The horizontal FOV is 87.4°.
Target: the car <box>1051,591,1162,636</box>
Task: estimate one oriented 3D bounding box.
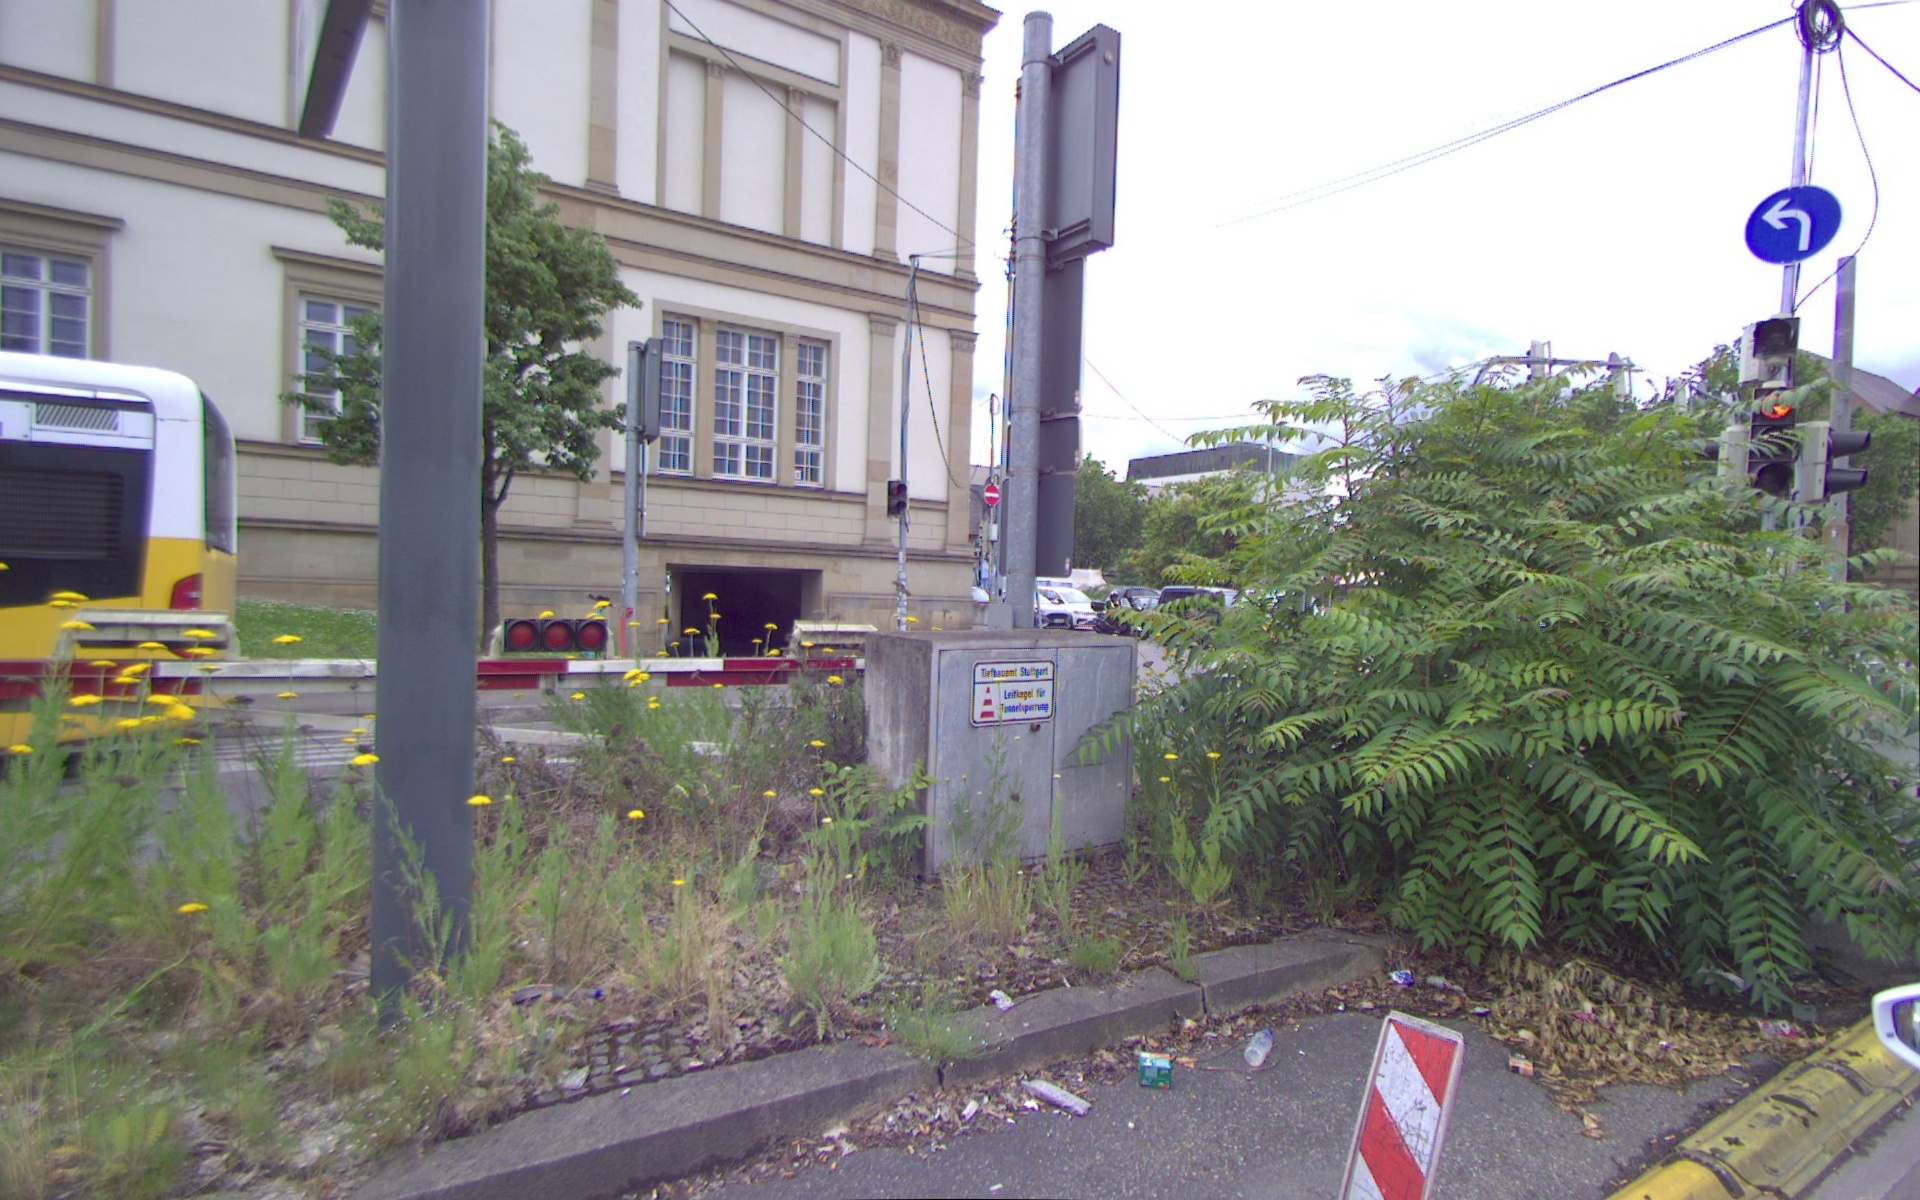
[{"bbox_3d":[5.486,0.499,37.997,1.978,1.568,4.084,2,0,-32],"label":"car"}]

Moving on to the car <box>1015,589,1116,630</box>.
[{"bbox_3d":[4.230,0.365,40.858,1.978,1.568,4.085,2,0,-32],"label":"car"}]

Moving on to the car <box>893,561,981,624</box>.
[{"bbox_3d":[-1.075,-0.335,43.830,1.978,2.585,4.083,2,0,-32],"label":"car"}]

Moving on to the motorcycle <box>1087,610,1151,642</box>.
[{"bbox_3d":[5.133,0.824,32.607,0.690,0.953,2.335,2,0,-32],"label":"motorcycle"}]

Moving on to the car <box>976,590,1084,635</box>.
[{"bbox_3d":[2.572,0.432,37.620,1.978,1.568,4.083,2,0,-32],"label":"car"}]

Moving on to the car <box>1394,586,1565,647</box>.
[{"bbox_3d":[16.568,0.481,32.200,1.986,1.783,4.447,2,0,-43],"label":"car"}]

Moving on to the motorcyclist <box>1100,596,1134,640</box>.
[{"bbox_3d":[5.101,0.585,32.662,0.690,1.398,0.784,2,0,-33],"label":"motorcyclist"}]

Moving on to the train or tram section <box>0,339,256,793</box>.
[{"bbox_3d":[-10.181,-0.277,6.263,9.229,3.112,2.680,1,-1,-31],"label":"train or tram section"}]
